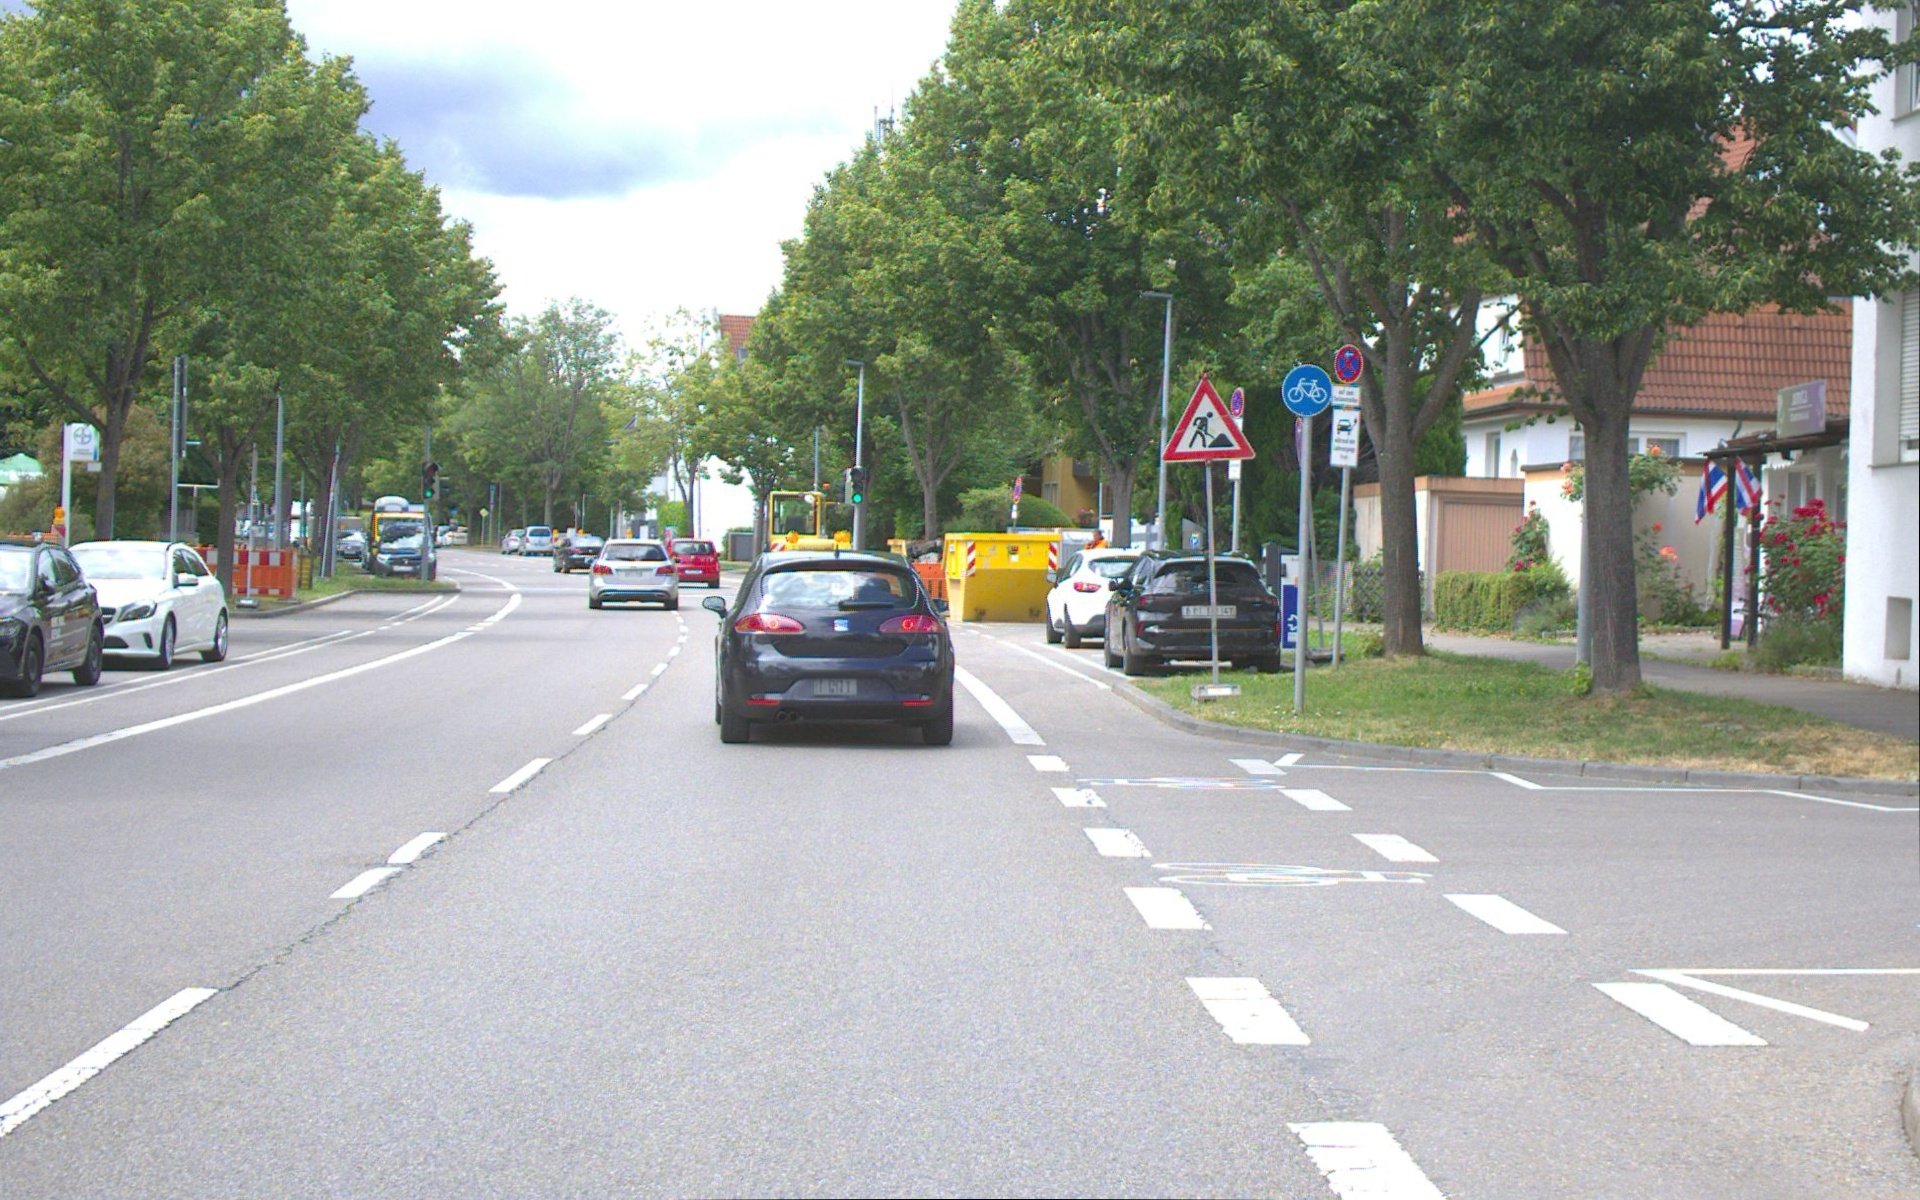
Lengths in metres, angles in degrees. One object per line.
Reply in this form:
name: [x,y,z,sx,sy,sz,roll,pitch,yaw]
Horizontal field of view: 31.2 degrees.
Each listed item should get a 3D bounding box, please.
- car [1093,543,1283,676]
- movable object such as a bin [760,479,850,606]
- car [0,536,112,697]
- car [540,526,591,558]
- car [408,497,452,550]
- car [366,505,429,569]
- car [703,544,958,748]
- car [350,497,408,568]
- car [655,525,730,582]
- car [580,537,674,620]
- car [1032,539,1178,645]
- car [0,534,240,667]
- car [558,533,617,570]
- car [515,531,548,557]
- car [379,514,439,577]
car: [2.626,0.070,40.534,1.705,1.449,4.617,1,1,-3]
movable object such as a bin: [-3.285,-1.211,72.421,1.768,2.565,3.740,1,1,-4]
car: [-9.248,0.109,32.478,1.642,1.415,4.021,0,1,-3]
car: [-17.624,-2.598,153.438,1.809,1.410,3.694,1,1,-13]
car: [-28.341,-4.082,183.687,2.287,2.782,7.145,0,1,-9]
car: [-19.798,-2.213,120.921,2.092,2.167,5.046,1,1,-10]
car: [-1.050,0.305,26.555,1.818,1.433,3.740,0,1,-4]
car: [-22.152,-2.580,131.112,2.092,2.617,5.046,1,1,-10]
car: [-7.896,-1.388,101.301,1.790,1.617,3.741,0,1,-10]
car: [-7.006,-0.474,72.150,1.905,1.680,3.741,0,1,-6]
car: [2.095,-0.148,50.535,1.672,1.457,4.001,1,1,-4]
car: [-9.506,-0.036,39.117,1.714,1.401,4.300,1,1,0]
car: [-14.193,-1.855,130.841,1.809,1.370,3.694,1,1,-12]
car: [-24.244,-3.191,194.628,1.809,1.410,3.694,1,1,-7]
car: [-15.877,-1.592,99.096,1.667,1.766,4.469,0,1,-9]
